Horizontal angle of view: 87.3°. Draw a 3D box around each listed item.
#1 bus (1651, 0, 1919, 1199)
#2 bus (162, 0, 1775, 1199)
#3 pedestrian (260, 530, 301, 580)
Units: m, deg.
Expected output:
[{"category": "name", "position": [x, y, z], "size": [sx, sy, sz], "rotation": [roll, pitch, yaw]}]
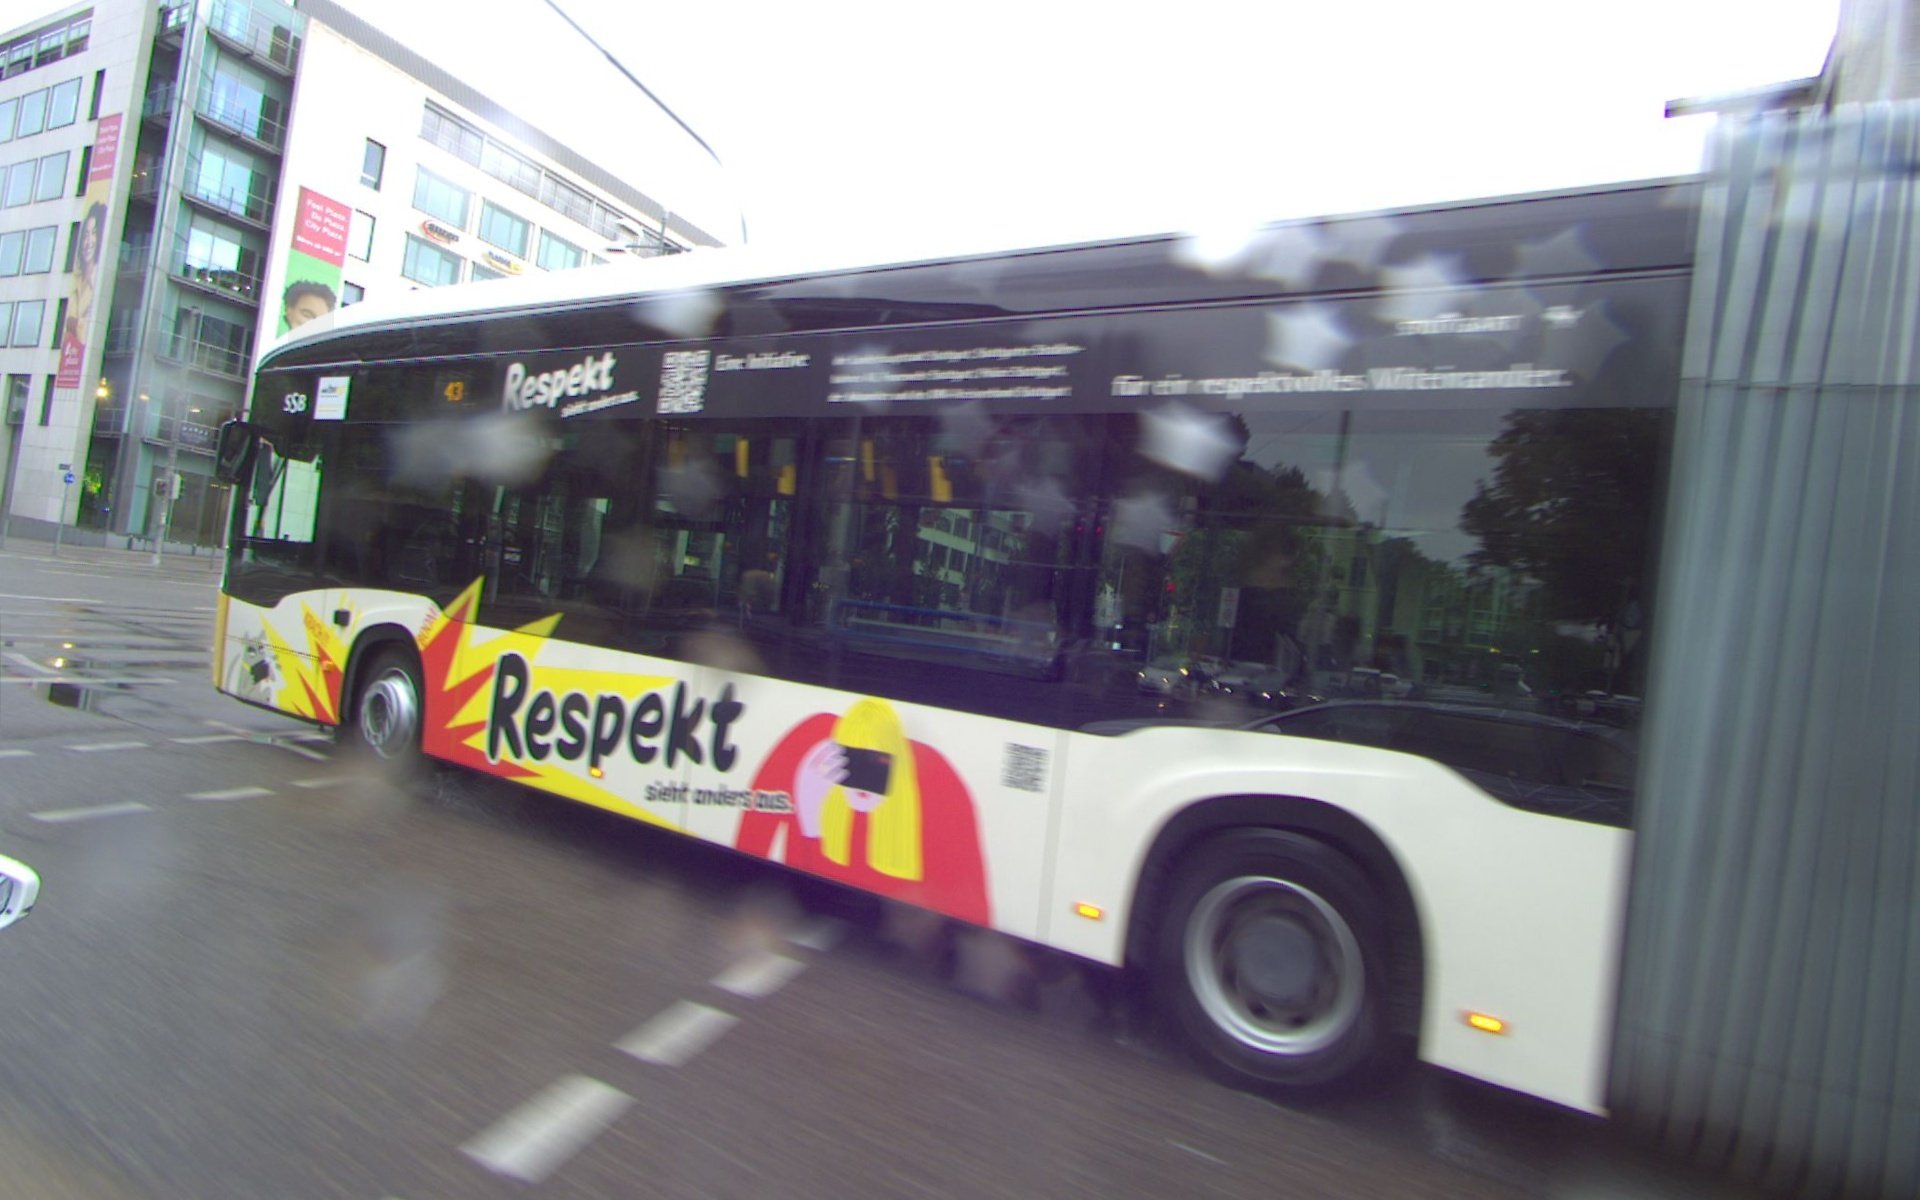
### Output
[{"category": "bus", "position": [6.999, 0.614, 1.378], "size": [9.551, 3.479, 2.888], "rotation": [5, -2, 32]}, {"category": "bus", "position": [-1.225, -0.182, 6.558], "size": [9.597, 3.490, 2.888], "rotation": [5, -2, 32]}, {"category": "pedestrian", "position": [-27.267, -1.795, 40.376], "size": [0.822, 1.837, 0.963], "rotation": [6, -2, 31]}]
